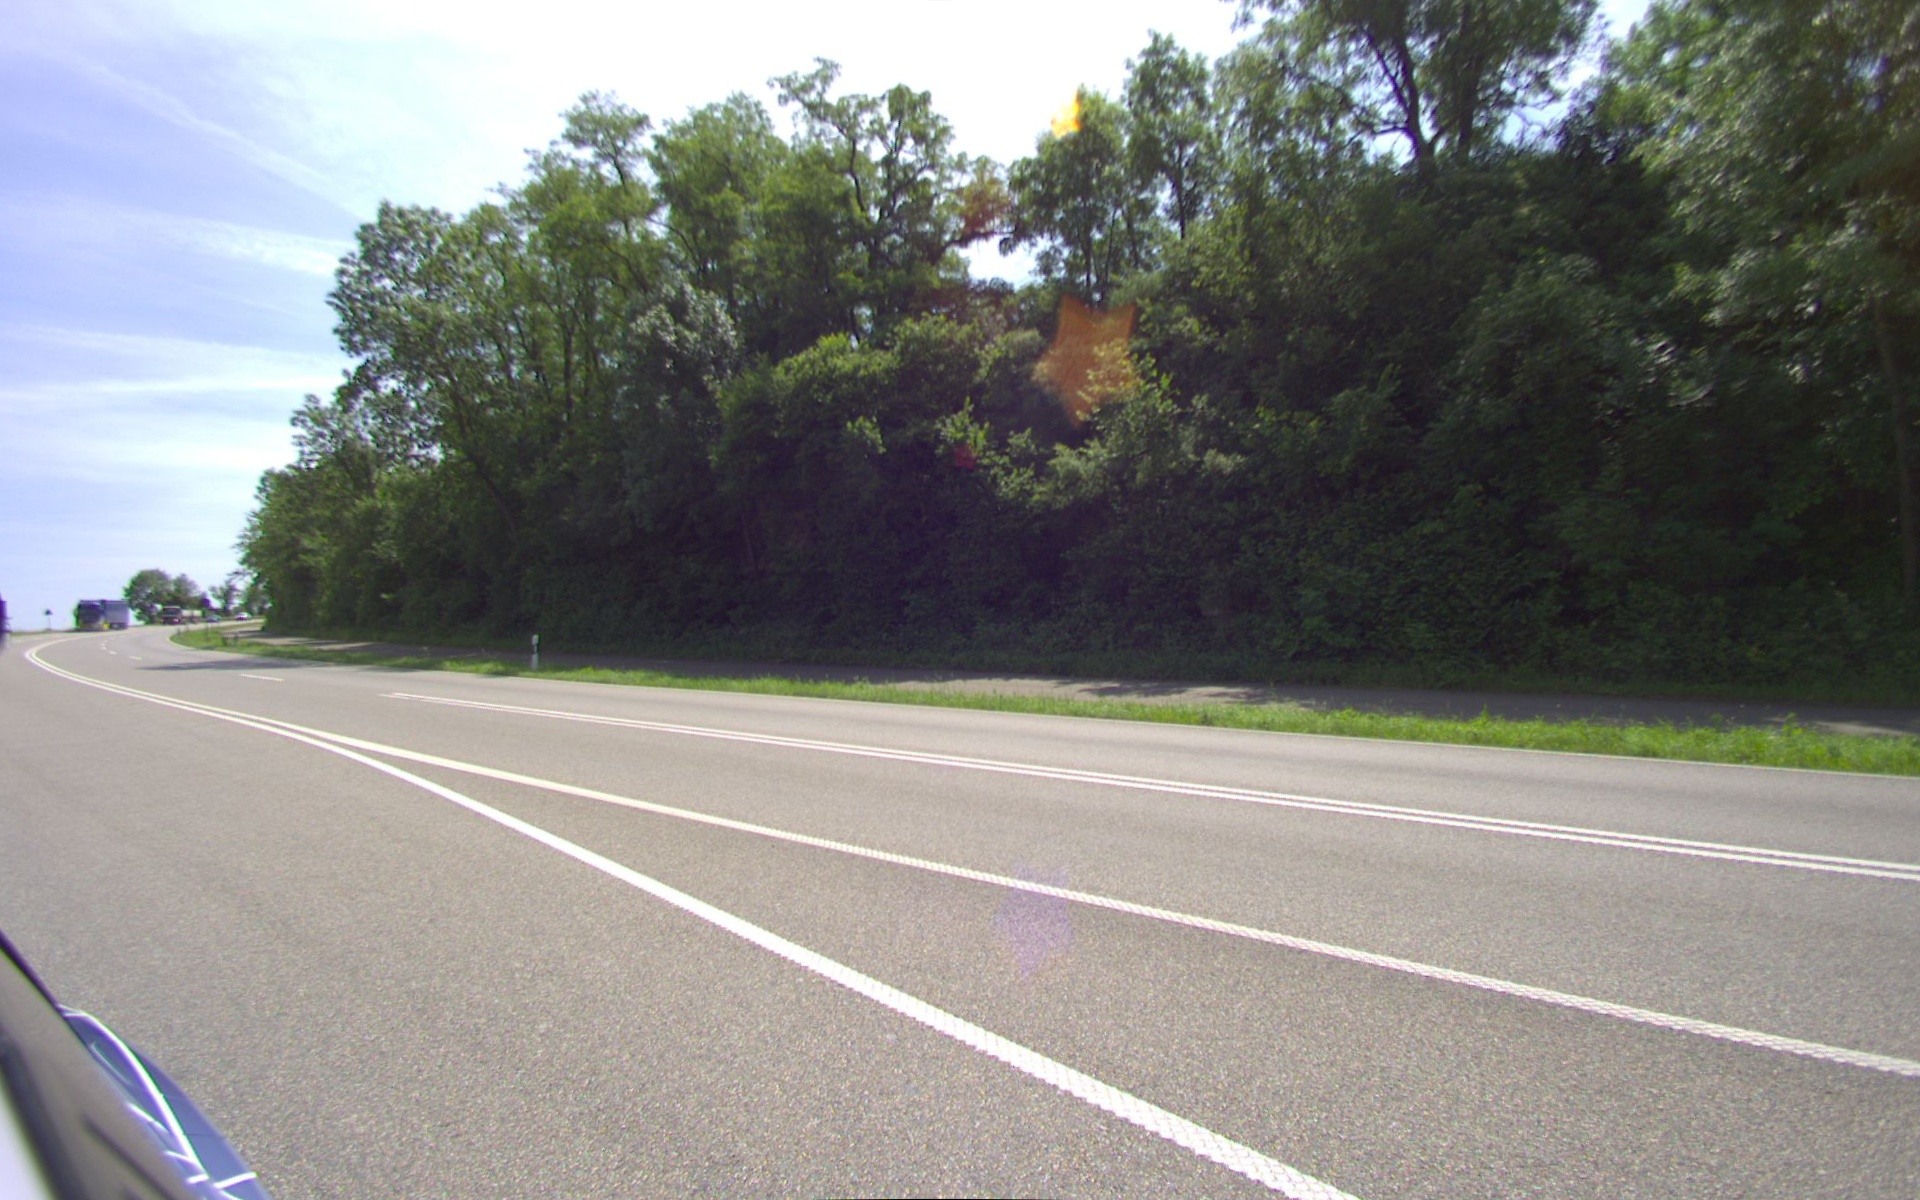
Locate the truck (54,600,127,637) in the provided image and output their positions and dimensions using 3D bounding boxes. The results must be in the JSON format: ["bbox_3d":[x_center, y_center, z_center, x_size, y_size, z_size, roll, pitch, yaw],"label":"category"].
[{"bbox_3d":[-112.343,2.382,131.103,4.326,4.493,14.757,-1,0,-29],"label":"truck"}]

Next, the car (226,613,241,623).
[{"bbox_3d":[-149.922,3.627,208.862,1.826,2.029,3.901,-1,0,-24],"label":"car"}]

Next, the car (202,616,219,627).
[{"bbox_3d":[-142.844,4.136,192.880,1.886,2.029,4.189,0,0,-25],"label":"car"}]

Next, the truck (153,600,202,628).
[{"bbox_3d":[-133.103,2.384,172.299,3.920,4.493,14.387,-1,0,-27],"label":"truck"}]
